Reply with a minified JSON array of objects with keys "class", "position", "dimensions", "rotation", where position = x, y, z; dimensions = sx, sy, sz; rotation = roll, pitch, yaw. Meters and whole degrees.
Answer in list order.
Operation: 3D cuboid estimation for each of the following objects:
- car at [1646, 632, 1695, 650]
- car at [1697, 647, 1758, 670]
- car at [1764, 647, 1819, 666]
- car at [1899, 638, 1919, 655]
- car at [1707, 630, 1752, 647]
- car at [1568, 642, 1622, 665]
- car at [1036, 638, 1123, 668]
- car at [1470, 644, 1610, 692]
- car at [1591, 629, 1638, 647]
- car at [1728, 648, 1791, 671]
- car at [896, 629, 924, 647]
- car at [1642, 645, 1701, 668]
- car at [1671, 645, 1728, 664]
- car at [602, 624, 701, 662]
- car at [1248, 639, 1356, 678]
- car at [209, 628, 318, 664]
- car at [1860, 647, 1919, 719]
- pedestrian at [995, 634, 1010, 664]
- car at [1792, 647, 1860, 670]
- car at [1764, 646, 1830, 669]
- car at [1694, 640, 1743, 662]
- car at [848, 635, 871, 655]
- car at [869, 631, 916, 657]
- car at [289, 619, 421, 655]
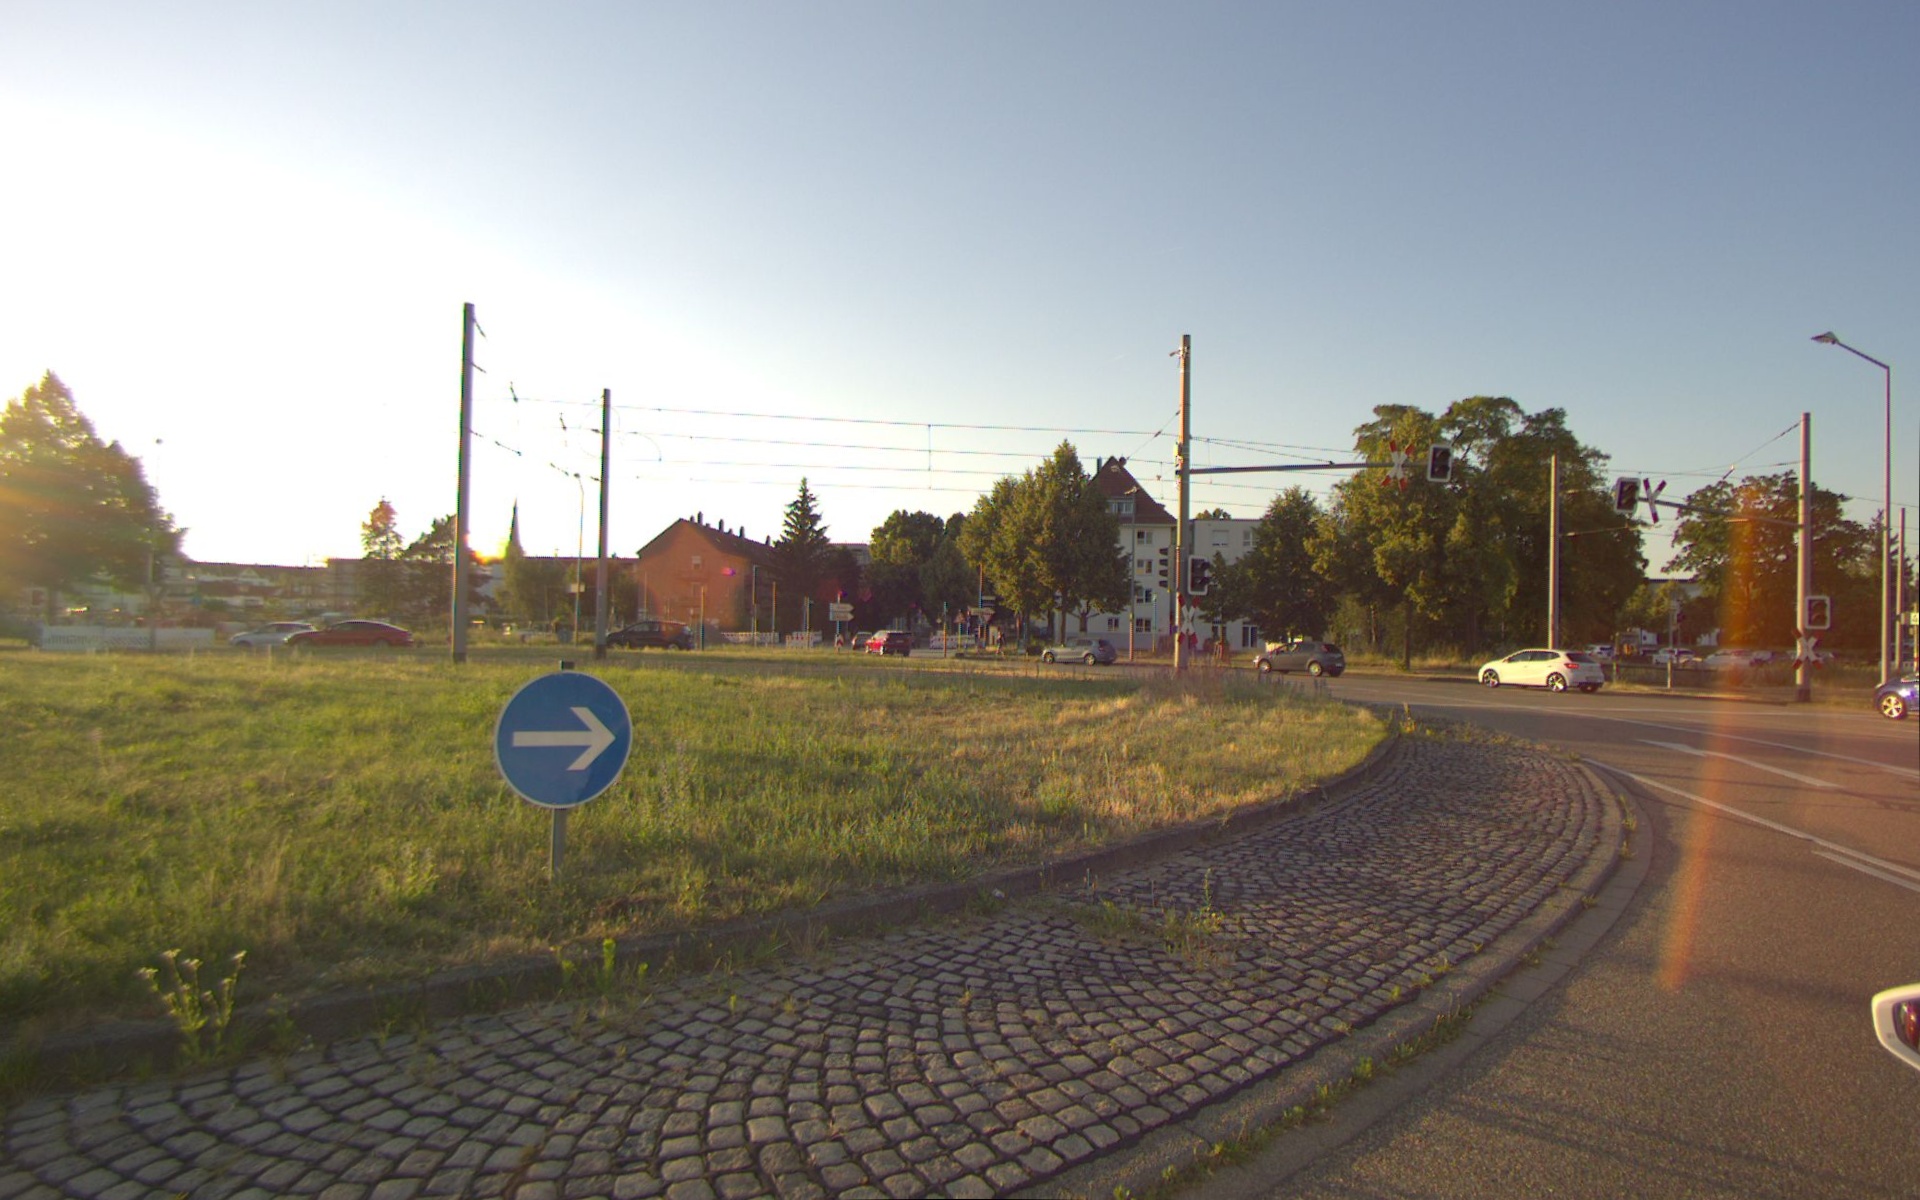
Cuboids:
[{"class":"car","position":[87.970,5.090,124.402],"dimensions":[4.505,2.040,2.001],"rotation":[1,-1,6]},{"class":"car","position":[60.102,4.554,78.757],"dimensions":[1.960,1.625,4.002],"rotation":[1,-1,5]},{"class":"car","position":[78.316,5.304,94.682],"dimensions":[3.940,1.684,1.894],"rotation":[0,-2,40]},{"class":"car","position":[109.470,5.279,113.947],"dimensions":[3.919,1.840,2.001],"rotation":[1,-1,7]},{"class":"car","position":[94.883,4.722,123.902],"dimensions":[4.033,2.040,2.001],"rotation":[1,-1,6]},{"class":"car","position":[50.012,4.200,79.202],"dimensions":[1.960,1.625,4.002],"rotation":[1,-1,5]},{"class":"car","position":[6.217,2.725,52.419],"dimensions":[4.094,1.408,1.862],"rotation":[0,-2,36]},{"class":"car","position":[20.096,2.325,34.955],"dimensions":[1.840,1.473,3.951],"rotation":[2,-1,-21]},{"class":"car","position":[81.278,4.721,124.836],"dimensions":[4.506,2.040,2.001],"rotation":[1,-1,2]},{"class":"car","position":[62.208,4.624,78.226],"dimensions":[1.960,1.625,4.002],"rotation":[1,-1,5]},{"class":"car","position":[-5.000,3.743,100.573],"dimensions":[1.959,1.659,4.529],"rotation":[1,-1,7]},{"class":"car","position":[55.329,4.379,78.175],"dimensions":[1.960,1.625,4.002],"rotation":[1,-1,5]},{"class":"car","position":[70.197,5.178,95.403],"dimensions":[3.919,1.684,1.904],"rotation":[1,-1,7]},{"class":"car","position":[-13.807,1.929,45.141],"dimensions":[3.925,1.605,1.894],"rotation":[1,-1,-6]},{"class":"car","position":[14.795,2.506,43.628],"dimensions":[1.851,1.473,4.119],"rotation":[2,-2,-37]},{"class":"car","position":[-33.782,2.237,48.847],"dimensions":[3.943,1.643,1.989],"rotation":[2,-1,-23]},{"class":"car","position":[23.219,1.957,22.667],"dimensions":[1.879,1.604,4.178],"rotation":[1,-1,-4]},{"class":"pedestrian","position":[2.687,3.114,64.070],"dimensions":[0.614,1.918,0.663],"rotation":[2,0,-34]},{"class":"car","position":[66.931,4.522,77.718],"dimensions":[1.960,1.625,4.002],"rotation":[1,-1,5]},{"class":"car","position":[64.574,4.437,77.538],"dimensions":[1.960,1.625,4.002],"rotation":[1,-1,5]},{"class":"car","position":[77.254,5.166,102.364],"dimensions":[3.935,2.040,1.993],"rotation":[0,-1,36]},{"class":"car","position":[-8.246,3.687,82.530],"dimensions":[1.851,1.483,4.667],"rotation":[1,-1,-5]},{"class":"car","position":[-4.454,2.838,65.370],"dimensions":[1.969,1.594,4.397],"rotation":[1,-1,-19]},{"class":"car","position":[-25.487,1.559,42.479],"dimensions":[4.430,1.410,1.887],"rotation":[2,-1,-21]}]
